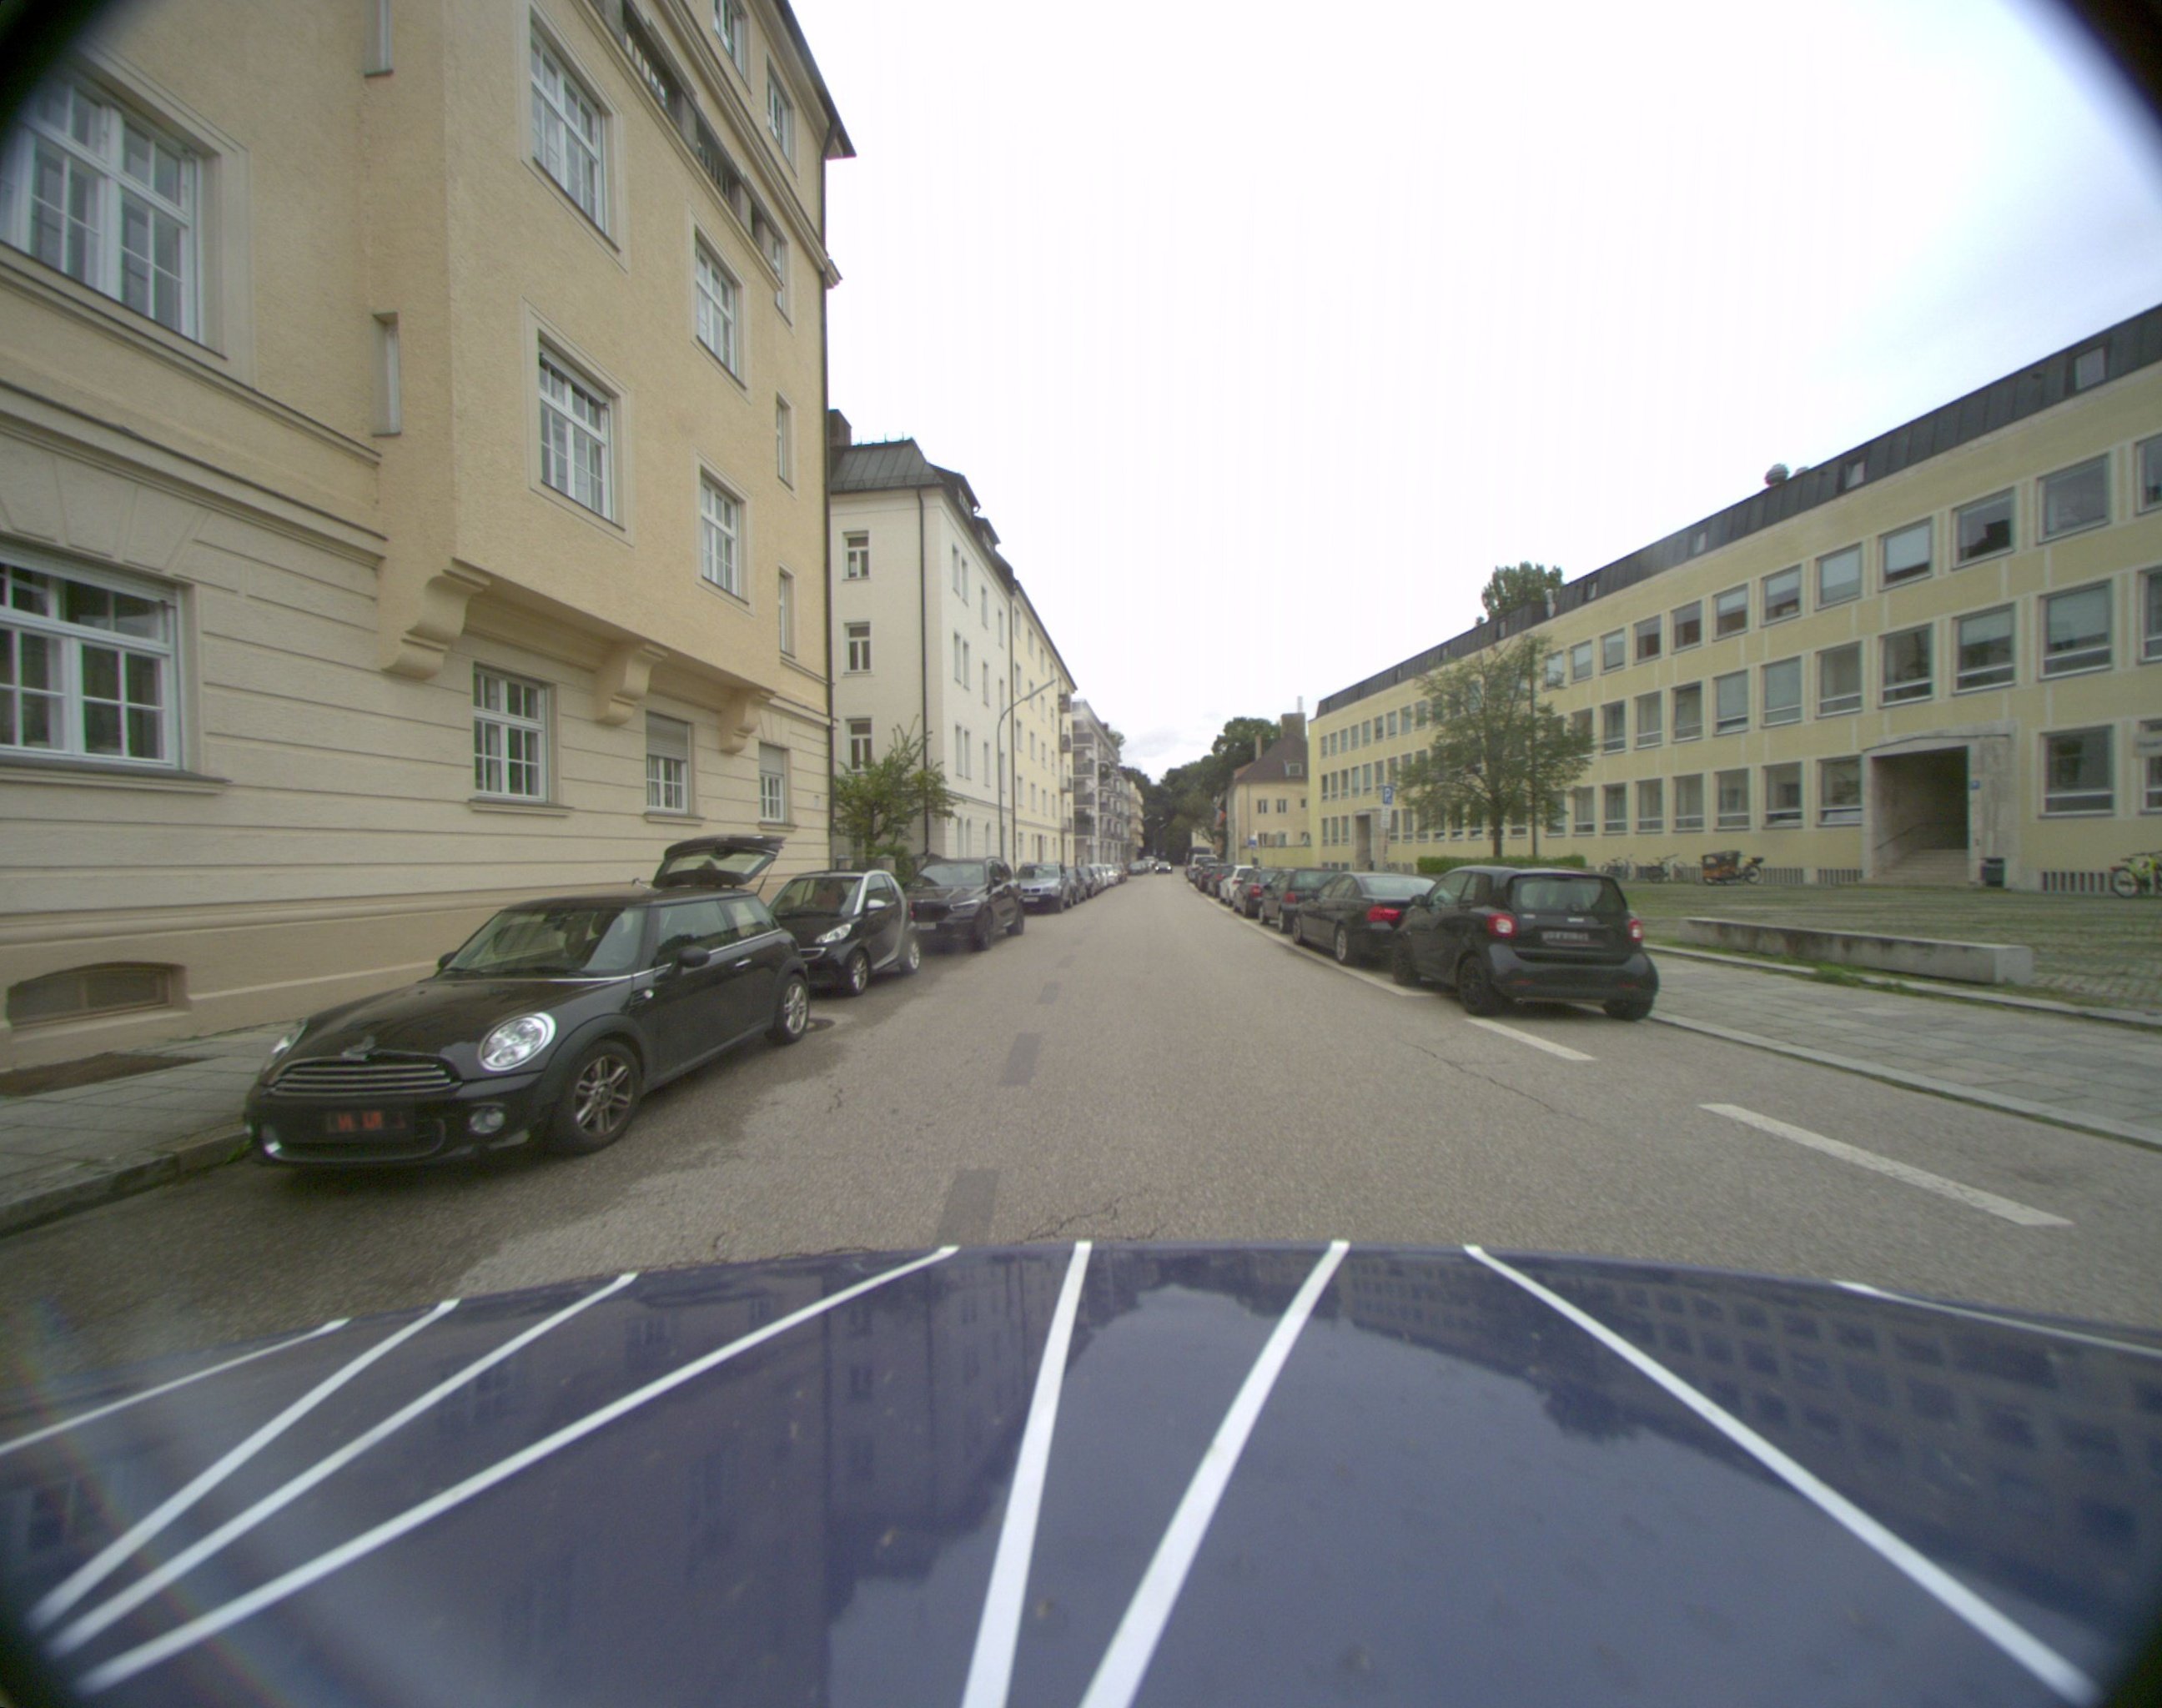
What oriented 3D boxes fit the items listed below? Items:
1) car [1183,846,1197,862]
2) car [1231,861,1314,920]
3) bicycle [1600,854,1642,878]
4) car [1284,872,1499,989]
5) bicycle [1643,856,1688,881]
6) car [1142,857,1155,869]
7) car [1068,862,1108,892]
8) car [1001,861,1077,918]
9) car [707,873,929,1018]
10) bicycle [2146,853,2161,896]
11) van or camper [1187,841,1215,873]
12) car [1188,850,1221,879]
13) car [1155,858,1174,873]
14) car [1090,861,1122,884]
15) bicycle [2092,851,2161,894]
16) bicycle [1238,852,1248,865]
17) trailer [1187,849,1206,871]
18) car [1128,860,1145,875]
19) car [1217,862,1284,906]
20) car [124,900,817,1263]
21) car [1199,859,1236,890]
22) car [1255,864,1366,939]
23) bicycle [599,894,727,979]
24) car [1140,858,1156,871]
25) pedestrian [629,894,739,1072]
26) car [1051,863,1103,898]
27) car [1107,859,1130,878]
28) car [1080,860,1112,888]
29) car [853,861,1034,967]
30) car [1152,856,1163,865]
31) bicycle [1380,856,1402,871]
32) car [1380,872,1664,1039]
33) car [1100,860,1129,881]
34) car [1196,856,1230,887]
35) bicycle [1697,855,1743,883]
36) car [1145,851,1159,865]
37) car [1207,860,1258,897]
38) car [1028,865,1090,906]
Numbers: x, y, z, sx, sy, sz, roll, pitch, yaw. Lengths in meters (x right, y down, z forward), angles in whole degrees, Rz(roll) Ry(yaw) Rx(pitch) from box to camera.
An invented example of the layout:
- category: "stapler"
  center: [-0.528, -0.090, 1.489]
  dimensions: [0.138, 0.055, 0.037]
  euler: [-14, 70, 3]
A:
- category: "car"
  center: [17.405, -0.040, 121.097]
  dimensions: [2.116, 2.461, 5.234]
  euler: [0, 0, 7]
- category: "car"
  center: [5.393, 0.962, 21.872]
  dimensions: [1.634, 1.485, 4.277]
  euler: [0, 0, 5]
- category: "bicycle"
  center: [23.479, 0.523, 33.042]
  dimensions: [1.609, 0.939, 0.503]
  euler: [-3, 0, -12]
- category: "car"
  center: [4.730, 1.072, 12.369]
  dimensions: [1.778, 1.457, 4.467]
  euler: [1, 0, 2]
- category: "bicycle"
  center: [23.676, 0.579, 30.781]
  dimensions: [1.609, 0.939, 0.503]
  euler: [-3, 0, -12]
- category: "car"
  center: [9.414, 1.253, 106.060]
  dimensions: [1.668, 1.459, 4.377]
  euler: [-1, 1, 5]
- category: "car"
  center: [0.418, 1.206, 40.555]
  dimensions: [1.728, 1.441, 4.189]
  euler: [-2, -1, 5]
- category: "car"
  center: [-1.315, 1.117, 25.513]
  dimensions: [1.850, 1.653, 4.500]
  euler: [-2, 0, 5]
- category: "car"
  center: [-3.281, 1.085, 10.069]
  dimensions: [1.517, 1.545, 3.021]
  euler: [-2, 0, 8]
- category: "bicycle"
  center: [25.296, 0.428, 17.243]
  dimensions: [1.863, 0.939, 0.414]
  euler: [-3, 0, -6]
- category: "van or camper"
  center: [10.517, 0.264, 66.526]
  dimensions: [2.297, 2.635, 5.565]
  euler: [1, 0, 9]
- category: "car"
  center: [8.698, 0.750, 53.675]
  dimensions: [1.919, 1.948, 4.964]
  euler: [1, -1, 5]
- category: "car"
  center: [9.473, 1.266, 85.673]
  dimensions: [1.997, 1.521, 4.003]
  euler: [-2, -1, 7]
- category: "car"
  center: [1.694, 1.193, 50.461]
  dimensions: [1.728, 1.421, 4.296]
  euler: [-2, -1, 6]
- category: "bicycle"
  center: [25.082, 0.431, 17.980]
  dimensions: [1.957, 0.939, 0.414]
  euler: [-3, 0, -6]
- category: "bicycle"
  center: [15.935, 0.403, 74.836]
  dimensions: [0.804, 1.226, 1.869]
  euler: [-1, 1, 7]
- category: "trailer"
  center: [13.491, 0.675, 88.765]
  dimensions: [1.979, 2.457, 4.580]
  euler: [2, 1, 11]
- category: "car"
  center: [6.149, 1.466, 83.782]
  dimensions: [1.775, 1.467, 4.220]
  euler: [-1, -1, 5]
- category: "car"
  center: [6.020, 1.014, 27.393]
  dimensions: [1.745, 1.414, 4.295]
  euler: [0, 0, 4]
- category: "car"
  center: [-3.402, 1.145, 5.250]
  dimensions: [1.634, 1.409, 3.681]
  euler: [-2, -1, 4]
- category: "car"
  center: [6.826, 0.991, 38.293]
  dimensions: [1.634, 1.486, 3.822]
  euler: [0, 0, 7]
- category: "car"
  center: [5.131, 1.007, 17.464]
  dimensions: [1.634, 1.485, 3.605]
  euler: [1, 0, 4]
- category: "bicycle"
  center: [-6.269, 1.191, 11.554]
  dimensions: [0.503, 1.043, 2.139]
  euler: [2, 0, 8]
- category: "car"
  center: [8.315, 1.325, 94.066]
  dimensions: [1.795, 1.473, 4.605]
  euler: [-2, 0, 6]
- category: "pedestrian"
  center: [-3.608, 1.149, 6.945]
  dimensions: [0.629, 1.519, 0.578]
  euler: [-2, 0, 6]
- category: "car"
  center: [-0.107, 1.176, 35.647]
  dimensions: [1.879, 1.441, 4.680]
  euler: [-2, -1, 6]
- category: "car"
  center: [3.043, 1.148, 61.188]
  dimensions: [1.658, 1.421, 3.758]
  euler: [-2, -1, 6]
- category: "car"
  center: [0.955, 1.169, 45.840]
  dimensions: [1.654, 1.534, 3.995]
  euler: [-2, -1, 5]
- category: "car"
  center: [-2.525, 1.062, 15.467]
  dimensions: [2.174, 1.728, 5.027]
  euler: [-2, -1, 7]
- category: "car"
  center: [13.910, 1.175, 137.705]
  dimensions: [1.770, 1.607, 4.265]
  euler: [-1, 0, 7]
- category: "bicycle"
  center: [21.184, 0.645, 51.907]
  dimensions: [1.413, 0.939, 0.413]
  euler: [-3, 0, -22]
- category: "car"
  center: [4.635, 0.971, 8.456]
  dimensions: [1.522, 1.457, 2.887]
  euler: [1, 0, 2]
- category: "car"
  center: [2.509, 1.190, 56.236]
  dimensions: [1.776, 1.421, 4.617]
  euler: [-2, -1, 6]
- category: "car"
  center: [7.512, 0.943, 43.483]
  dimensions: [1.718, 1.679, 4.143]
  euler: [1, 0, 7]
- category: "bicycle"
  center: [23.886, 0.552, 28.409]
  dimensions: [1.610, 0.939, 0.502]
  euler: [-3, 0, -17]
- category: "car"
  center: [11.307, 0.652, 120.900]
  dimensions: [1.857, 2.019, 4.786]
  euler: [-2, -1, 8]
- category: "car"
  center: [6.562, 1.006, 33.238]
  dimensions: [1.634, 1.486, 4.102]
  euler: [1, 0, 4]
- category: "car"
  center: [-0.786, 1.213, 30.230]
  dimensions: [1.831, 1.441, 4.086]
  euler: [-2, -1, 7]
